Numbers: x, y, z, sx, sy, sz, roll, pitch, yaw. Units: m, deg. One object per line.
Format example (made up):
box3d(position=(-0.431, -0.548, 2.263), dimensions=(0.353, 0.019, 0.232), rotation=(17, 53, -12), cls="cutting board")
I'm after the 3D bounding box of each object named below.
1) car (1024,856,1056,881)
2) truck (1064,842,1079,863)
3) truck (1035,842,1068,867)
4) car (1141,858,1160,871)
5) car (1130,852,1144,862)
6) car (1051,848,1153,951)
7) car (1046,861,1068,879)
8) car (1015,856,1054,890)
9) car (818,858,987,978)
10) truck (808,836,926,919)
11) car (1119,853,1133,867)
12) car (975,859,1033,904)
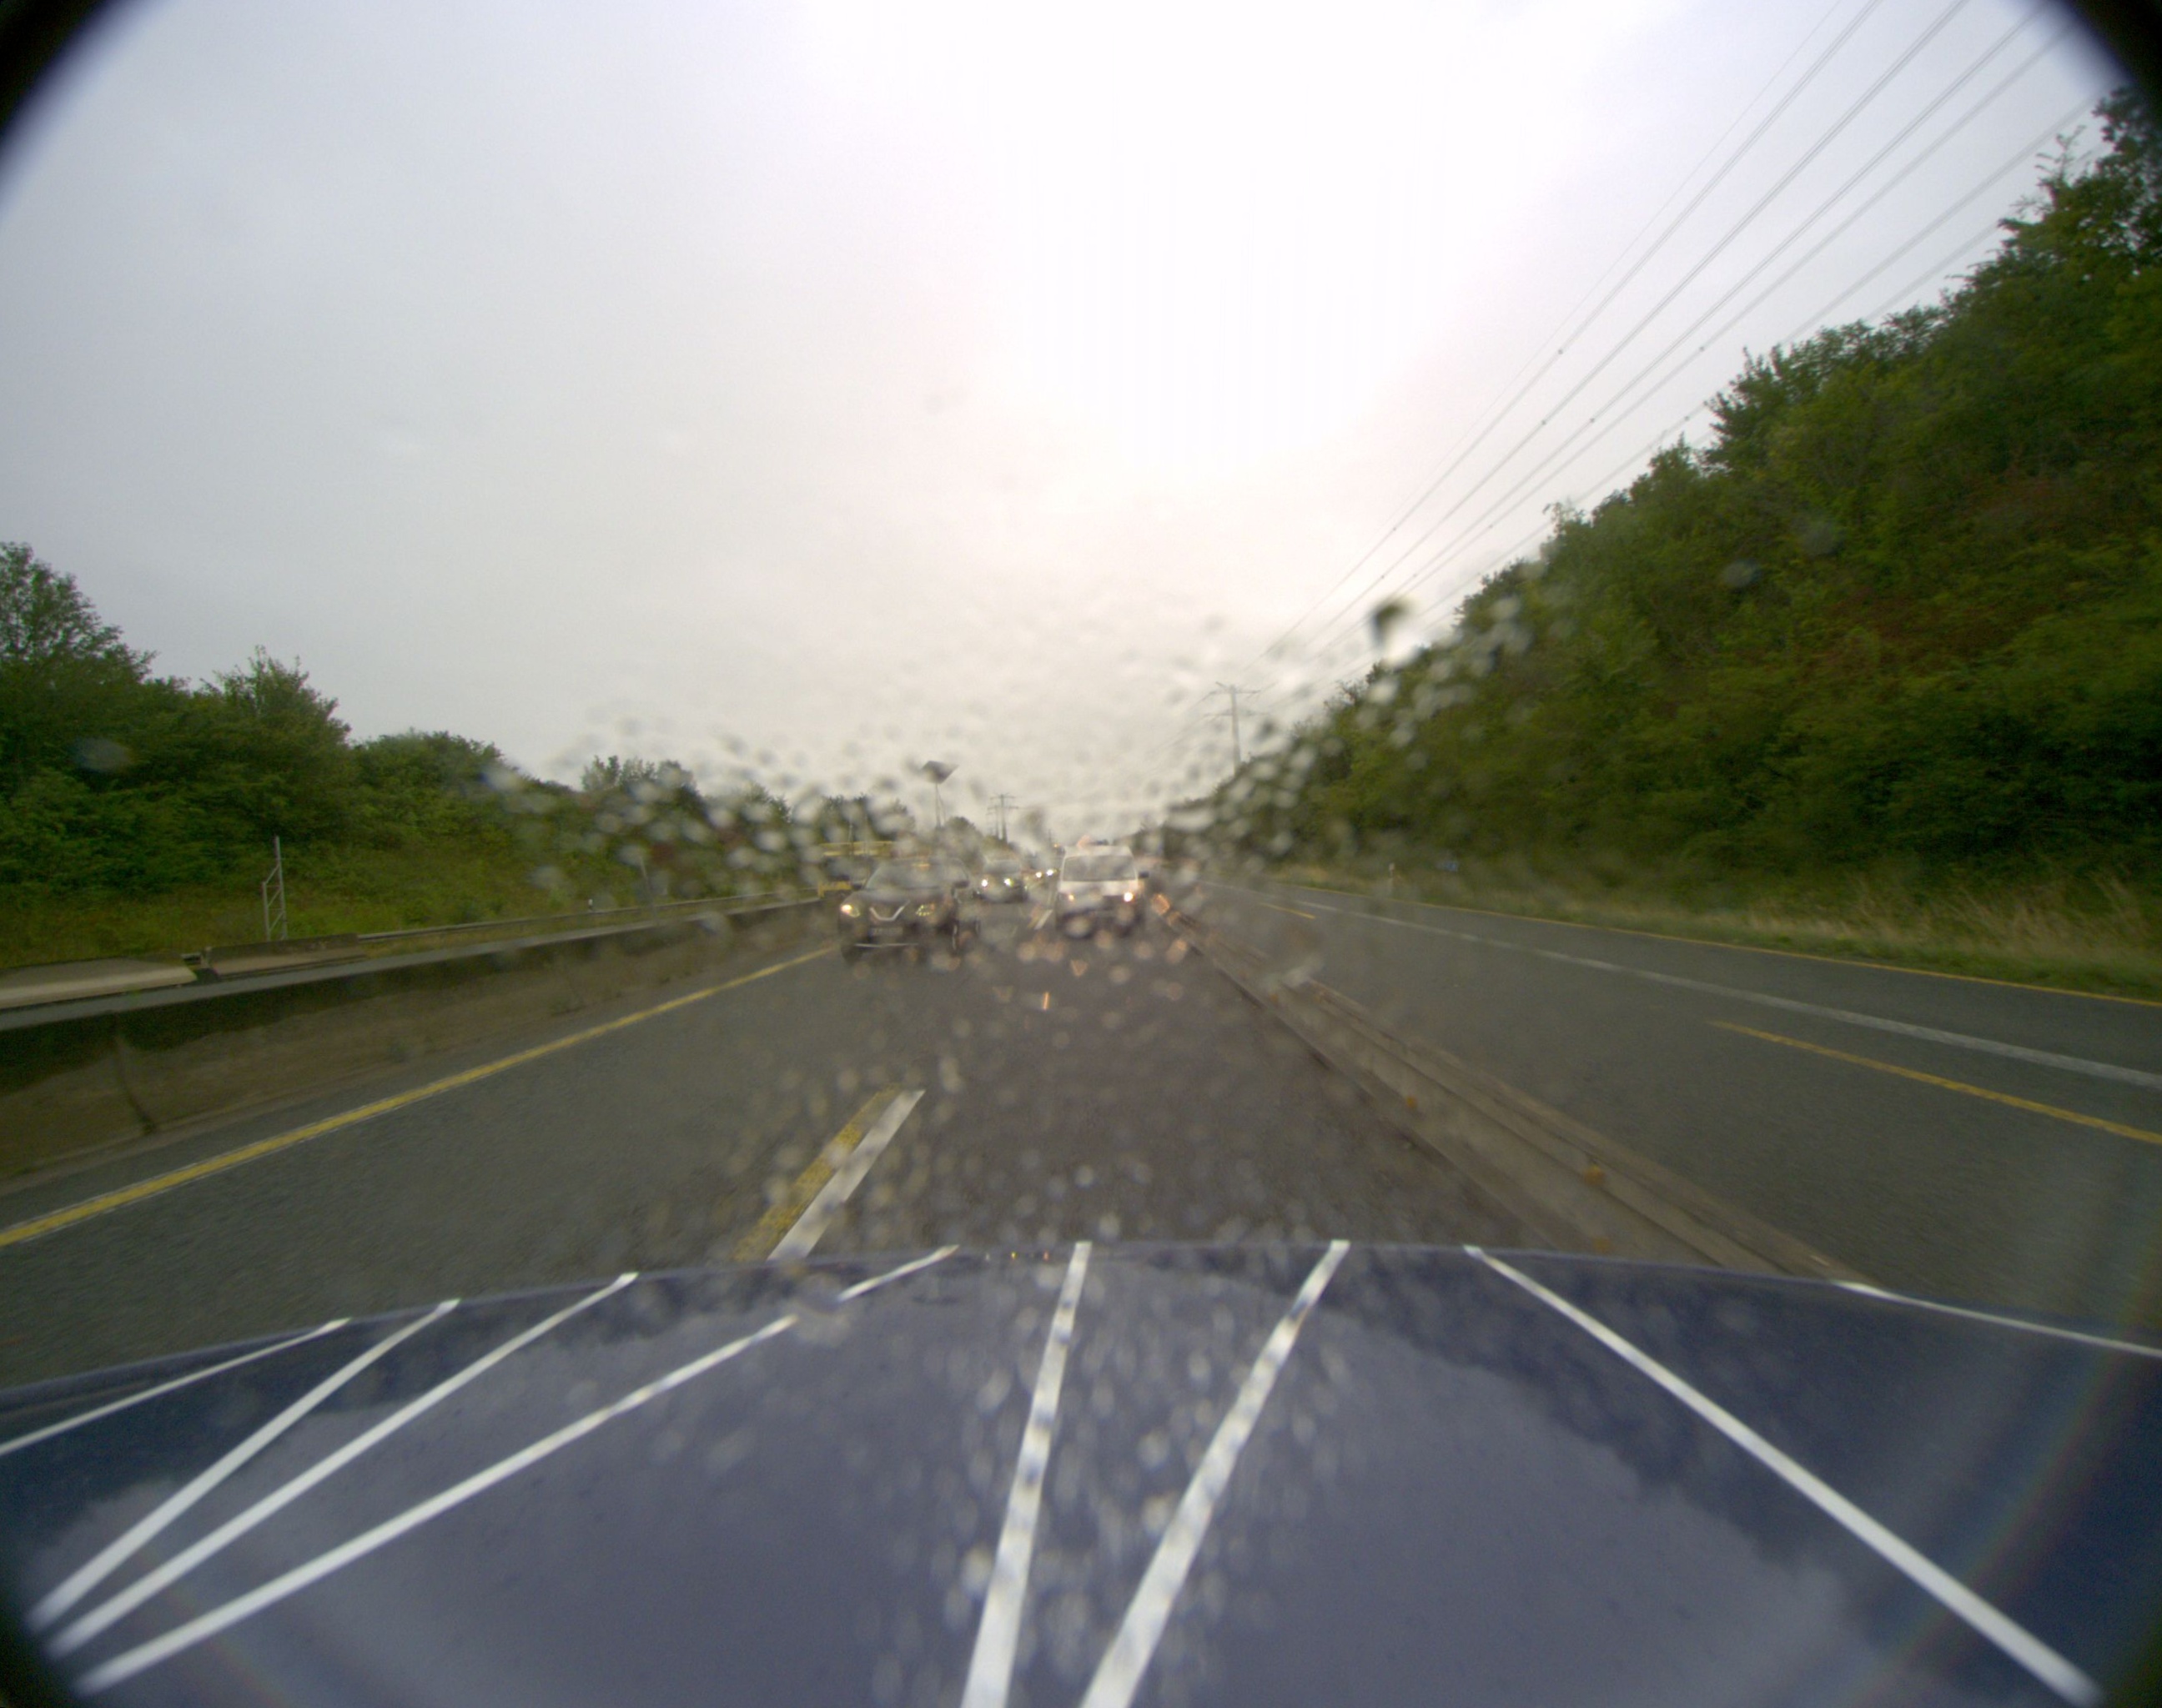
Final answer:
box3d(position=(-2.566, 0.893, 48.796), dimensions=(1.784, 1.482, 4.123), rotation=(-2, 1, 0), cls="car")
box3d(position=(-1.796, -0.287, 148.886), dimensions=(2.619, 3.868, 9.574), rotation=(-2, 1, 0), cls="truck")
box3d(position=(-4.273, 0.073, 108.158), dimensions=(2.622, 3.404, 9.563), rotation=(-2, 1, -14), cls="truck")
box3d(position=(8.185, 1.200, 89.861), dimensions=(1.778, 1.442, 4.449), rotation=(-2, 1, 1), cls="car")
box3d(position=(9.088, 0.459, 123.362), dimensions=(1.875, 1.593, 4.000), rotation=(-2, 1, 1), cls="car")
box3d(position=(0.370, 0.800, 16.004), dimensions=(1.784, 1.775, 4.697), rotation=(-2, 1, 0), cls="car")
box3d(position=(-2.127, 1.411, 68.410), dimensions=(1.784, 1.482, 4.123), rotation=(-2, 1, 0), cls="car")
box3d(position=(-2.385, 0.939, 40.067), dimensions=(1.784, 1.589, 4.123), rotation=(-2, 1, 0), cls="car")
box3d(position=(-2.938, 0.964, 13.627), dimensions=(1.894, 1.665, 4.640), rotation=(-2, 1, 0), cls="car")
box3d(position=(-10.043, 0.957, 36.947), dimensions=(2.619, 3.404, 9.576), rotation=(-2, 1, 2), cls="truck")
box3d(position=(5.874, 0.797, 99.588), dimensions=(1.766, 1.674, 4.000), rotation=(-2, 1, 3), cls="car")
box3d(position=(-2.865, 0.983, 29.182), dimensions=(1.784, 1.482, 4.123), rotation=(-2, 1, 0), cls="car")
